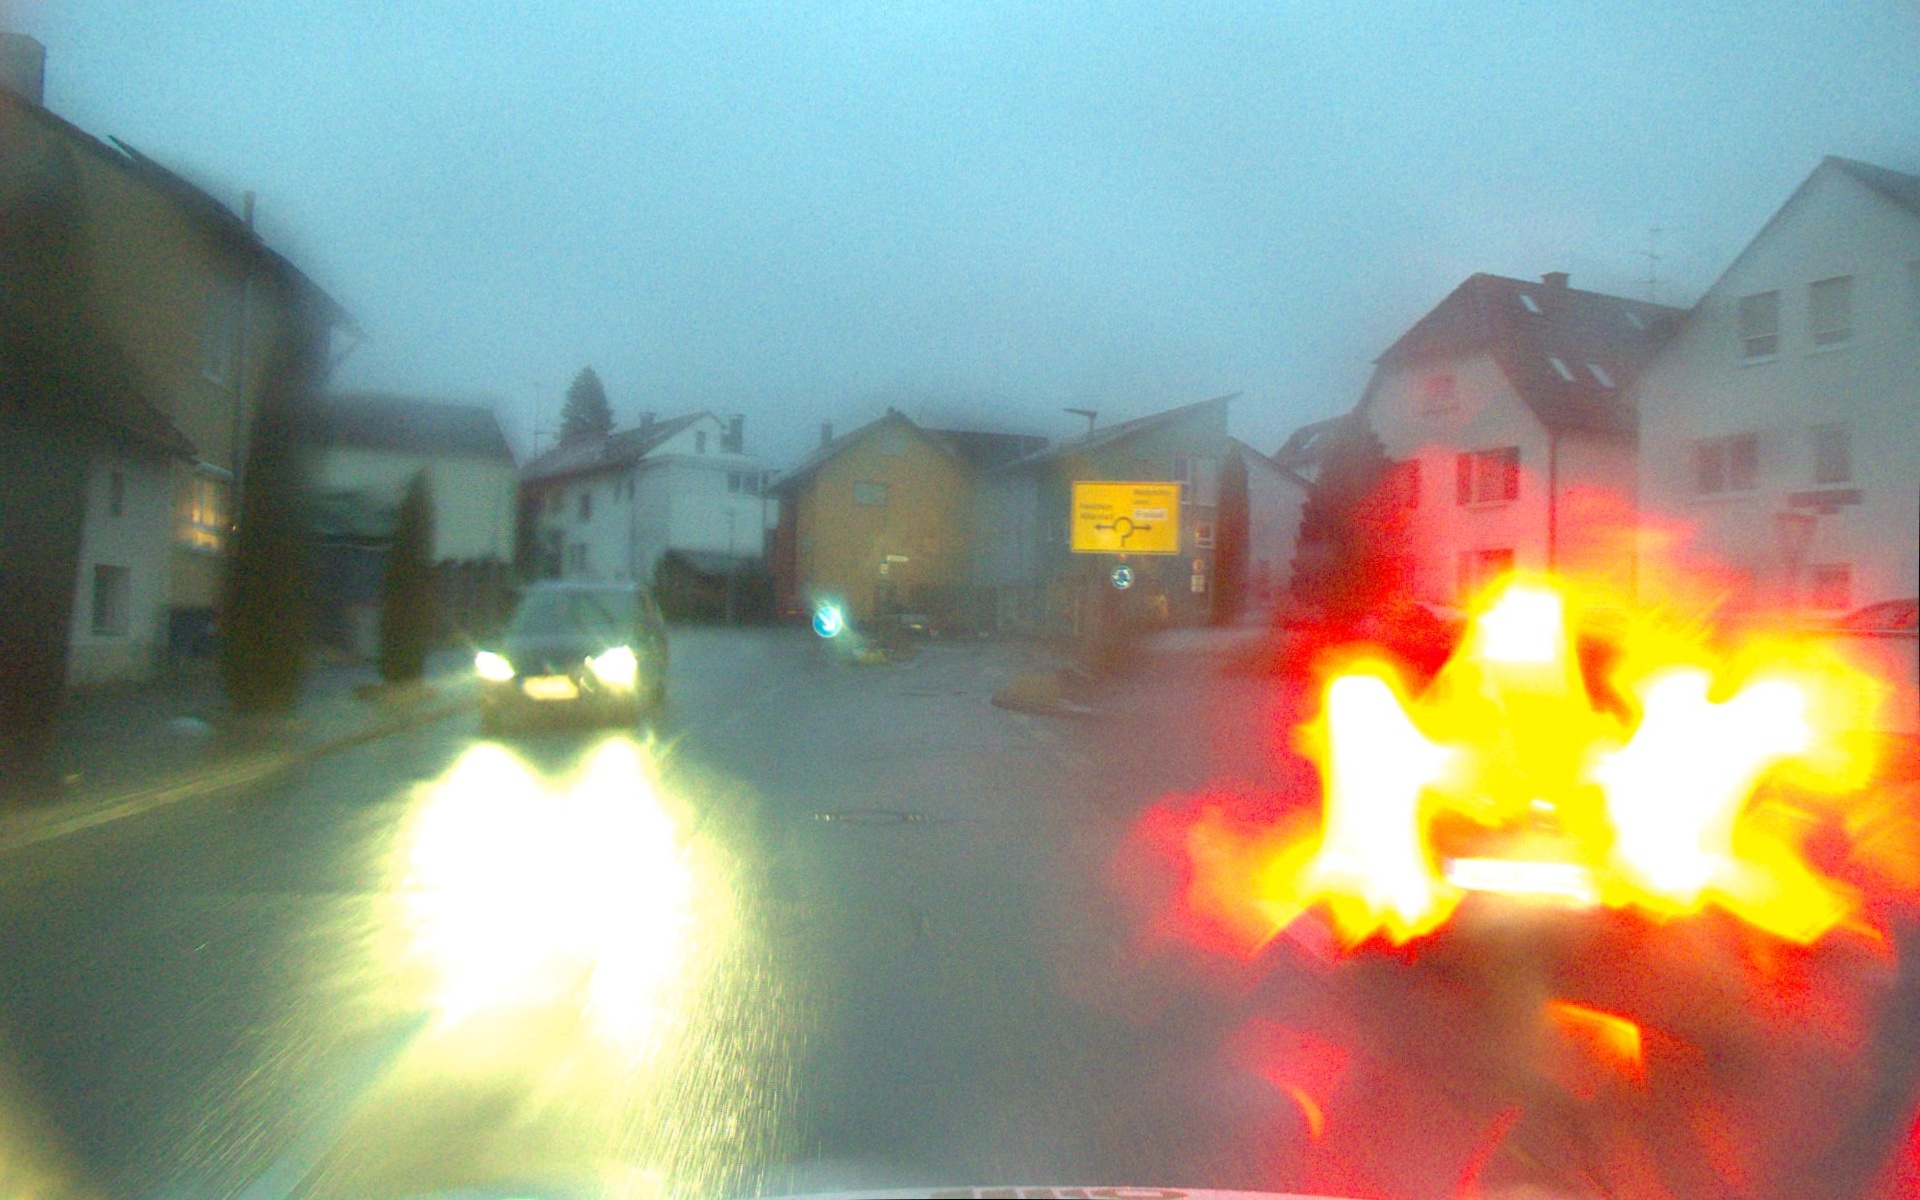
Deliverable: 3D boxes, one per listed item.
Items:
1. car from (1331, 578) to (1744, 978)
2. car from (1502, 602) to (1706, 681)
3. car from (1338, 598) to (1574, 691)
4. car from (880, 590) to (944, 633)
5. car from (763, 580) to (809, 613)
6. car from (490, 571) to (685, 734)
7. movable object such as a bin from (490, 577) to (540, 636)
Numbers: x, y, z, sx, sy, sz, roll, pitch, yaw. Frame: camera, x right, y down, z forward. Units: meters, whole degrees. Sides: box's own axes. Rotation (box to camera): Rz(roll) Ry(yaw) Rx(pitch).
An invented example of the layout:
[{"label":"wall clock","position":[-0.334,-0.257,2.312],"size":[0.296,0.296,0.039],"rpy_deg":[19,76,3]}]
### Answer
[{"label":"car","position":[2.850,0.681,8.241],"size":[1.514,1.491,3.699],"rpy_deg":[1,0,19]},{"label":"car","position":[14.054,0.858,36.290],"size":[1.789,1.594,3.961],"rpy_deg":[-1,0,-29]},{"label":"car","position":[9.646,0.812,32.530],"size":[1.789,1.657,4.507],"rpy_deg":[-1,0,-29]},{"label":"car","position":[-2.101,0.479,70.880],"size":[1.959,1.673,3.986],"rpy_deg":[2,1,-14]},{"label":"car","position":[-9.433,-0.216,89.517],"size":[1.959,1.673,3.986],"rpy_deg":[2,1,-14]},{"label":"car","position":[-4.280,0.535,19.544],"size":[1.876,1.682,3.993],"rpy_deg":[2,1,-8]},{"label":"movable object such as a bin","position":[-12.039,0.166,44.813],"size":[1.074,1.570,1.287],"rpy_deg":[1,0,-6]}]
